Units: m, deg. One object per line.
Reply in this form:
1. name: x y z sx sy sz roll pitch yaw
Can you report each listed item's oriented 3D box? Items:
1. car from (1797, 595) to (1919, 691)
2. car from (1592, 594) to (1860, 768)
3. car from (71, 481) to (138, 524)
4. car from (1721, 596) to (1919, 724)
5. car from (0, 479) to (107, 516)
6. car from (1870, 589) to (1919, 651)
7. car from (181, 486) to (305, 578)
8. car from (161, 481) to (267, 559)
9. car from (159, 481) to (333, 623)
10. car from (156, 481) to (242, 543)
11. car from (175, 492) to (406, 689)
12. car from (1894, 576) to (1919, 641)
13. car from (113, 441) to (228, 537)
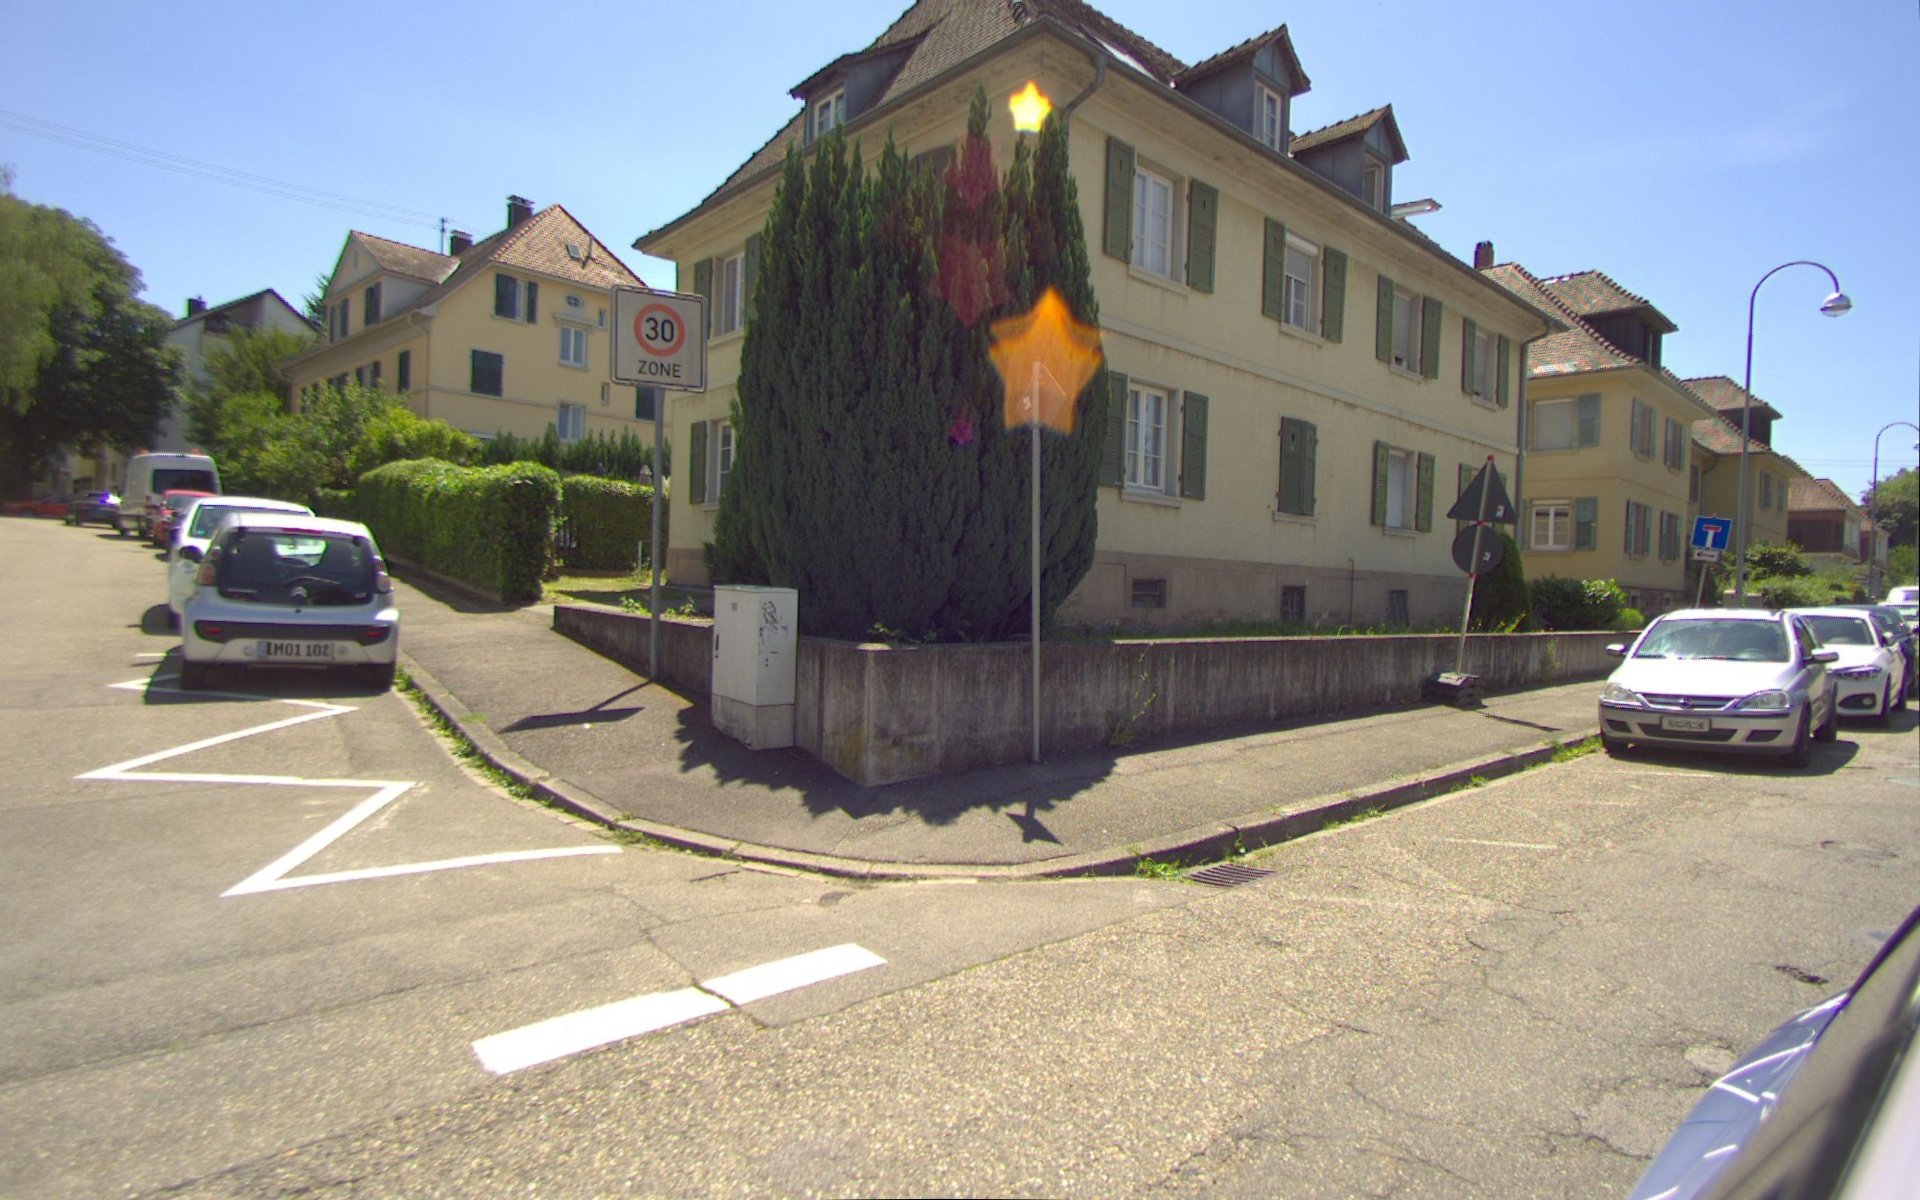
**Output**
1. car: 15.491 0.659 17.159 3.934 1.448 1.597 0 0 -44
2. car: 8.138 0.684 10.619 3.934 1.484 1.668 0 0 -44
3. car: -34.075 -3.901 40.272 1.770 1.528 3.993 0 5 -44
4. car: 11.660 0.683 13.592 3.933 1.453 1.668 -1 0 -43
5. car: -45.038 -5.052 50.125 1.790 1.528 3.947 5 4 36
6. car: 25.333 0.486 26.771 3.934 1.522 1.597 -1 2 -44
7. car: -13.106 -1.271 18.474 1.667 1.470 3.839 1 4 -37
8. car: -16.852 -1.833 22.819 1.767 1.528 4.000 1 4 -38
9. car: -9.069 -0.678 12.839 1.582 1.469 3.516 1 6 -37
10. car: -20.778 -2.400 27.666 1.767 1.528 4.001 0 4 -37
11. car: -6.510 -0.208 9.839 1.582 1.469 3.421 1 6 -35
12. car: 30.182 0.231 31.117 4.613 1.892 1.849 -1 0 -44
13. car: -25.091 -3.495 32.097 4.864 2.728 2.129 6 4 43
